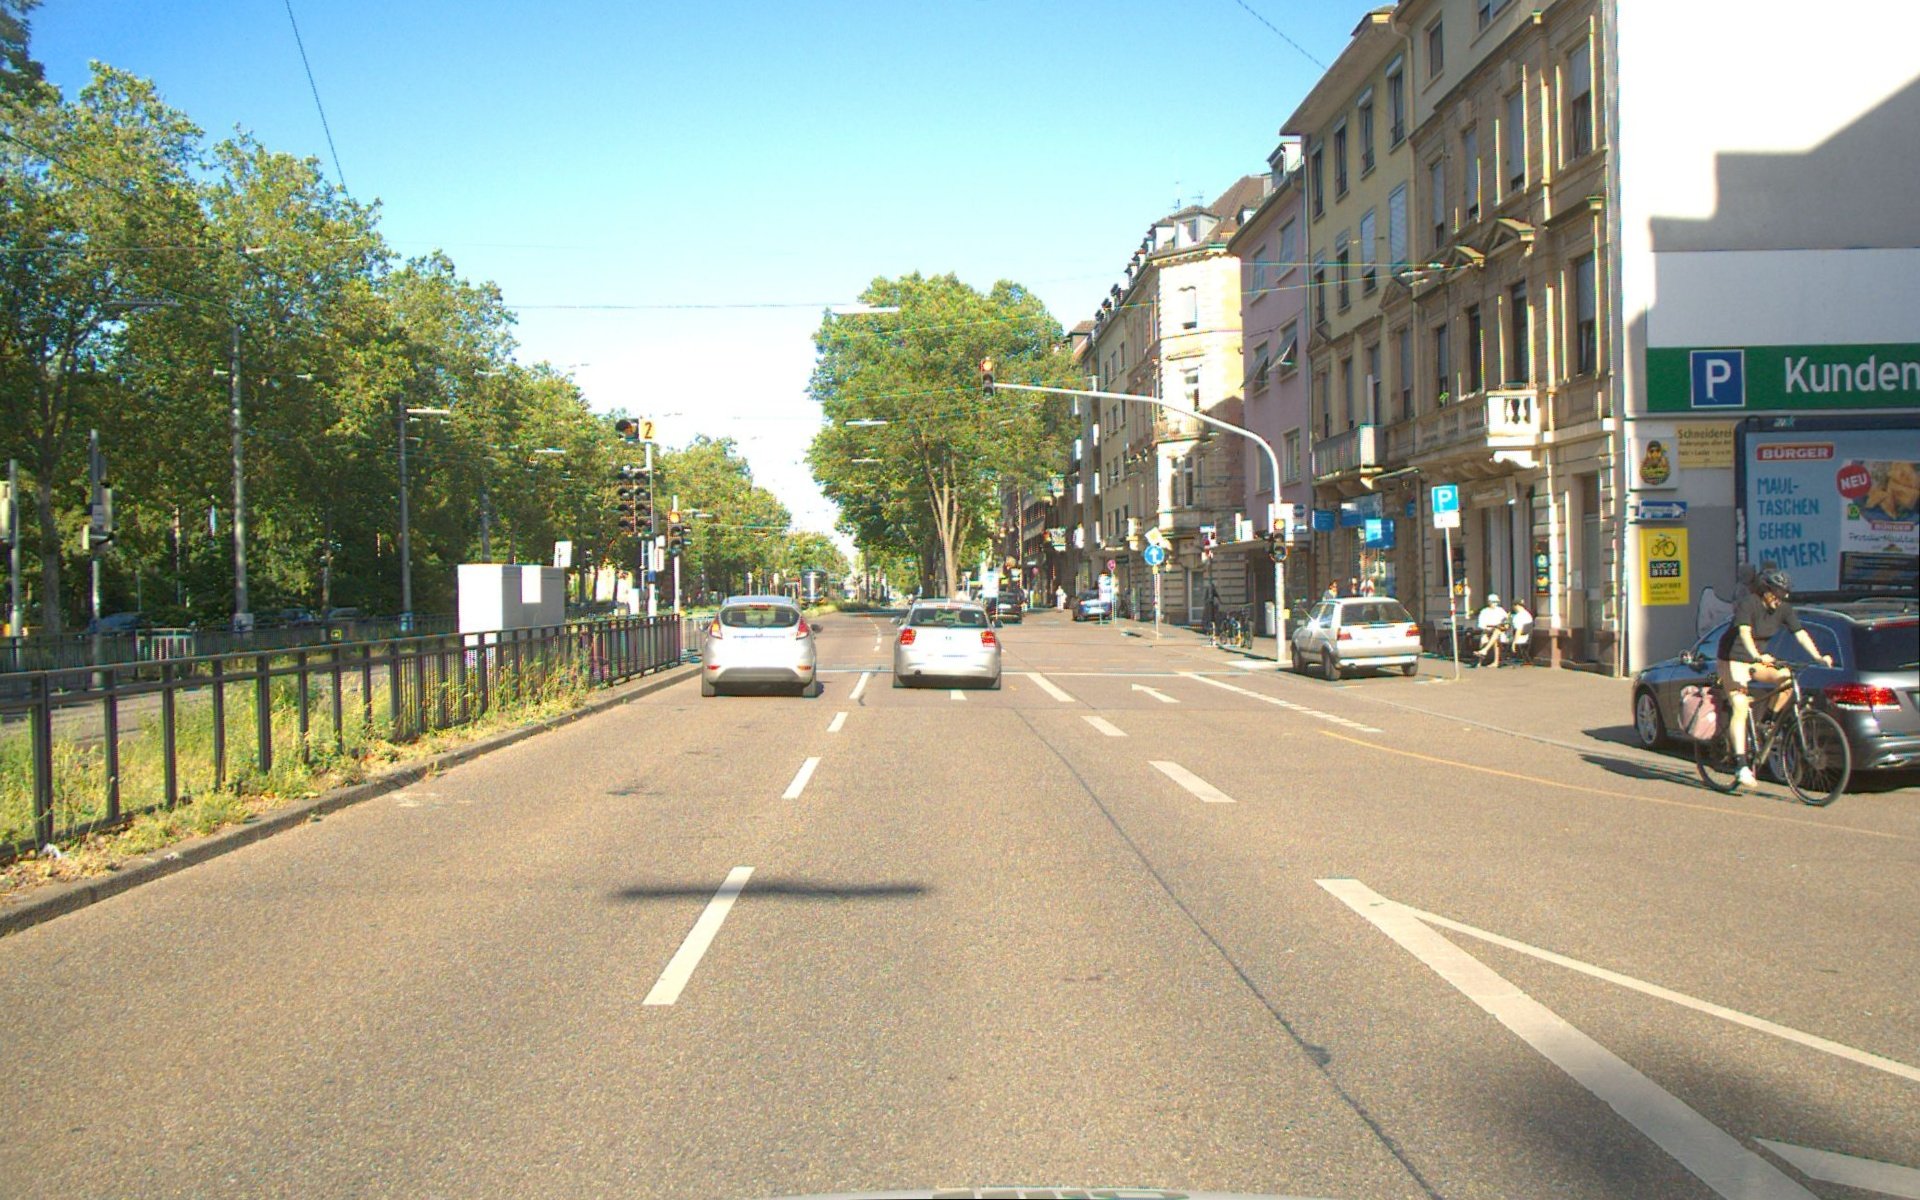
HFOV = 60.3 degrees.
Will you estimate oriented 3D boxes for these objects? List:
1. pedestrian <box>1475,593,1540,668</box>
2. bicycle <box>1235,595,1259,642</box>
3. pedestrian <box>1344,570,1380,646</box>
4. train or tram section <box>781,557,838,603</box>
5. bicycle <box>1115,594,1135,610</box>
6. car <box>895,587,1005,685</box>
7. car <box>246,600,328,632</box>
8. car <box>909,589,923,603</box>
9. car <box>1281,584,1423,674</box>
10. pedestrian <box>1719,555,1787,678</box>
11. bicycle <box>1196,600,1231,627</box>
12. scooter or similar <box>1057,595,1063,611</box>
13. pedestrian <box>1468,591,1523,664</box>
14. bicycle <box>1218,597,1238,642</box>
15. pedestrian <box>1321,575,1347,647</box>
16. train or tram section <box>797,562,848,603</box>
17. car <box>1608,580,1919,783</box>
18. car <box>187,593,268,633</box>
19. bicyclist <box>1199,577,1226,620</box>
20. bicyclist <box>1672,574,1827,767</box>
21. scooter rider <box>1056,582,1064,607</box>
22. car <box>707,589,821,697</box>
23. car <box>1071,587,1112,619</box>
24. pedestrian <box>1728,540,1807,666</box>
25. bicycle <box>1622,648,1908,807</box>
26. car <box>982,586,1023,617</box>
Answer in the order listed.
[{"bbox_3d":[9.877,0.544,29.866,0.883,1.304,0.655,-3,0,-6],"label":"pedestrian"},{"bbox_3d":[7.504,0.468,43.235,0.439,1.179,1.759,-1,1,5],"label":"bicycle"},{"bbox_3d":[9.920,0.197,40.862,0.659,1.837,0.530,-3,0,-2],"label":"pedestrian"},{"bbox_3d":[-13.543,-1.836,150.503,3.888,3.933,17.485,-1,1,-1],"label":"train or tram section"},{"bbox_3d":[8.462,0.117,84.807,0.739,0.784,1.944,-1,1,-3],"label":"bicycle"},{"bbox_3d":[-0.197,0.544,27.817,1.705,1.493,3.999,1,1,-1],"label":"car"},{"bbox_3d":[-30.046,0.706,73.995,1.897,1.372,4.846,-1,0,-3],"label":"car"},{"bbox_3d":[-6.485,-0.582,242.260,1.953,2.049,3.999,-1,1,-1],"label":"car"},{"bbox_3d":[7.184,0.485,30.696,1.531,1.440,4.003,-4,1,-1],"label":"car"},{"bbox_3d":[11.729,0.236,24.478,0.749,1.786,0.510,-1,0,-21],"label":"pedestrian"},{"bbox_3d":[9.162,0.481,59.743,0.642,0.919,1.331,0,1,40],"label":"bicycle"},{"bbox_3d":[6.358,0.182,105.444,0.330,1.005,1.284,-1,1,1],"label":"scooter or similar"},{"bbox_3d":[9.886,0.499,30.547,0.781,1.304,0.608,-1,0,-3],"label":"pedestrian"},{"bbox_3d":[7.101,0.499,43.838,0.405,1.160,1.810,0,1,5],"label":"bicycle"},{"bbox_3d":[9.248,0.268,40.886,0.538,1.738,0.388,-1,0,1],"label":"pedestrian"},{"bbox_3d":[-13.828,-1.799,168.019,3.924,3.933,17.485,-1,1,-1],"label":"train or tram section"},{"bbox_3d":[7.993,0.628,15.602,1.796,1.513,4.733,-4,1,0],"label":"car"},{"bbox_3d":[-29.965,0.518,67.786,1.636,1.536,4.143,-1,1,-3],"label":"car"},{"bbox_3d":[9.130,-0.045,59.737,0.538,1.528,0.956,-1,0,40],"label":"bicyclist"},{"bbox_3d":[6.375,0.542,13.359,0.741,1.487,0.936,1,0,-44],"label":"bicyclist"},{"bbox_3d":[6.389,-0.349,105.439,0.456,1.531,0.811,0,-1,0],"label":"scooter rider"},{"bbox_3d":[-2.967,0.590,25.261,1.578,1.493,3.885,-1,1,-6],"label":"car"},{"bbox_3d":[6.662,0.140,84.301,1.700,1.546,3.635,0,1,-2],"label":"car"},{"bbox_3d":[12.304,0.045,25.211,0.750,1.873,0.743,-1,0,-23],"label":"pedestrian"},{"bbox_3d":[6.417,0.978,13.257,0.753,1.121,1.921,-1,1,-44],"label":"bicycle"},{"bbox_3d":[2.010,0.049,78.601,1.701,1.458,3.676,0,1,-3],"label":"car"}]
